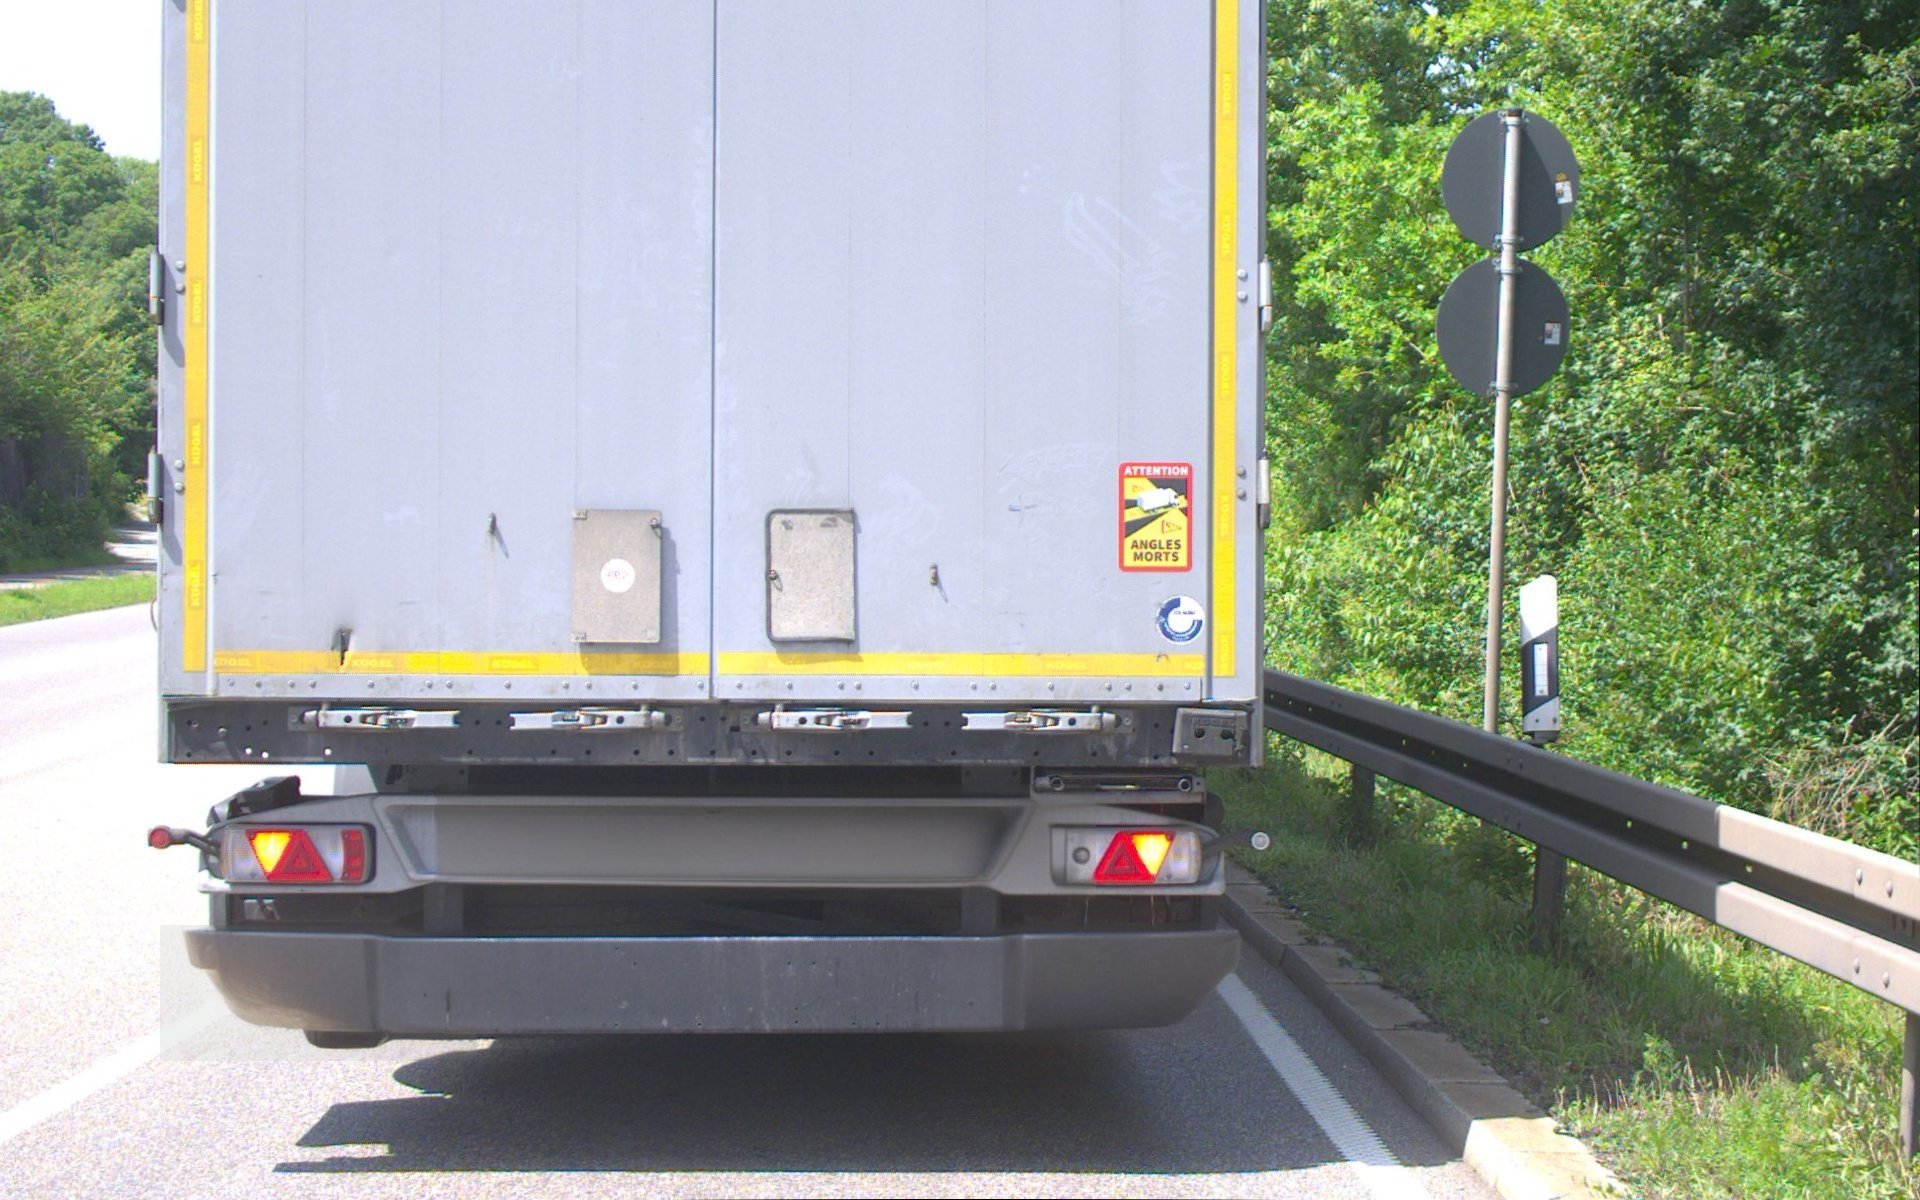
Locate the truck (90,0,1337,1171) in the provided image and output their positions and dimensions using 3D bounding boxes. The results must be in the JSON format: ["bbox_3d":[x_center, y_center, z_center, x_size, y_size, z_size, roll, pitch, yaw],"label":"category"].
[{"bbox_3d":[-0.684,-0.863,13.606,2.757,4.016,11.925,0,1,-1],"label":"truck"}]
